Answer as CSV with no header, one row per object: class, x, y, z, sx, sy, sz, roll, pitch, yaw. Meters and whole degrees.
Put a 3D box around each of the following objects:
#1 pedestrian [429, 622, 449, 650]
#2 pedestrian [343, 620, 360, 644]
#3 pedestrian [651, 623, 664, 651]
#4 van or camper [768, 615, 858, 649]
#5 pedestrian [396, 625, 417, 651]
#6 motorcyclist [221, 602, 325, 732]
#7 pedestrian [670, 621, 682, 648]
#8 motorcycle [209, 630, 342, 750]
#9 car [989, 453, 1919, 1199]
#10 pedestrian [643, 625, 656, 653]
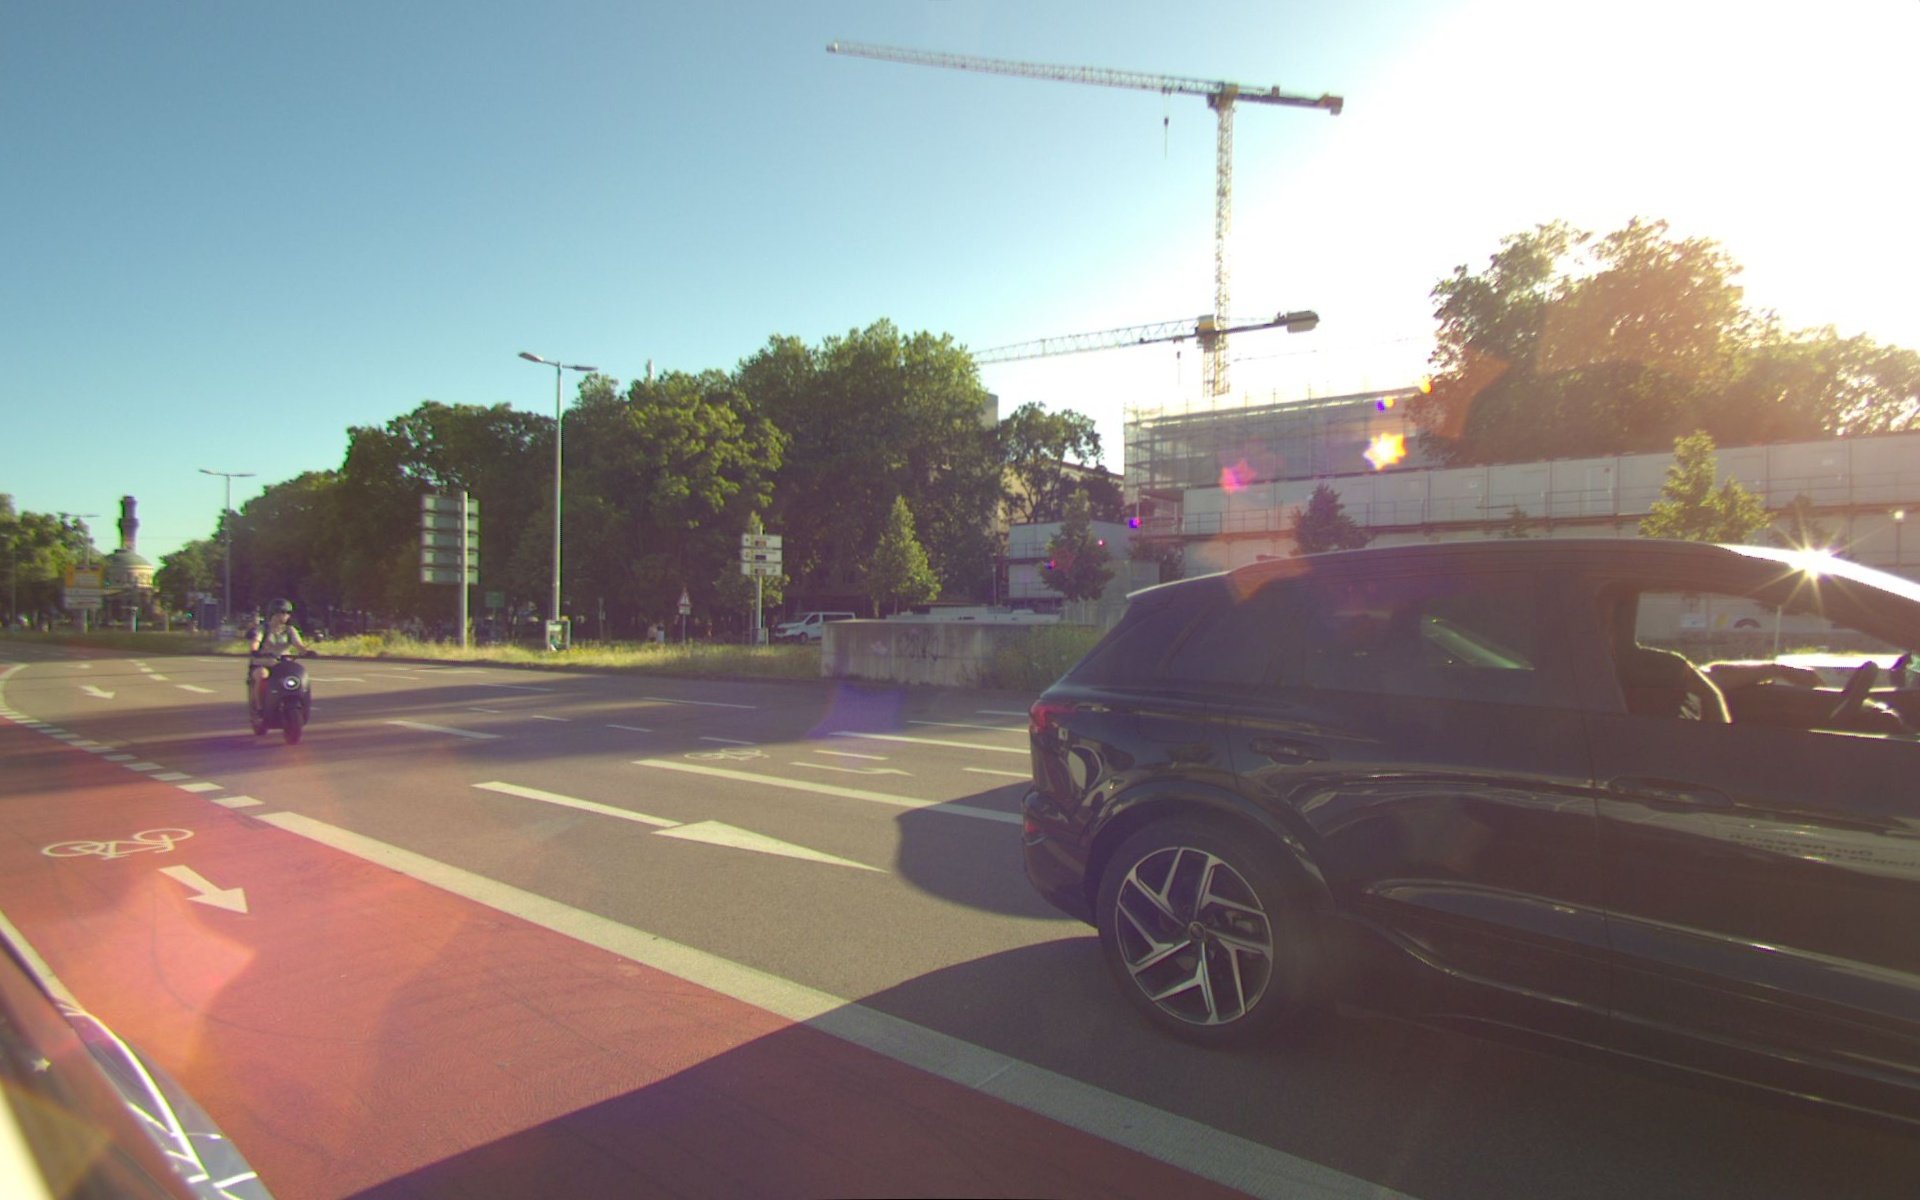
pedestrian,-38.335,2.637,74.440,0.815,1.978,1.111,-1,0,41
pedestrian,-51.782,2.750,86.099,0.948,2.029,0.836,-1,0,15
pedestrian,-16.821,2.037,56.210,0.494,1.522,0.492,-1,-2,41
van or camper,-8.953,1.927,61.887,1.951,1.960,5.425,-2,-2,44
pedestrian,-42.687,2.951,78.069,1.054,1.978,0.942,-1,0,26
motorcyclist,-8.158,0.769,12.028,0.877,1.475,0.813,-1,-2,41
pedestrian,-16.092,1.954,57.371,0.494,1.522,0.492,-1,-2,41
motorcycle,-8.090,1.000,11.928,1.943,1.290,0.817,-1,-2,41
car,2.581,0.553,3.150,4.660,1.720,2.144,-1,-1,39
pedestrian,-17.111,2.137,55.723,0.494,1.522,0.492,-1,-2,41
